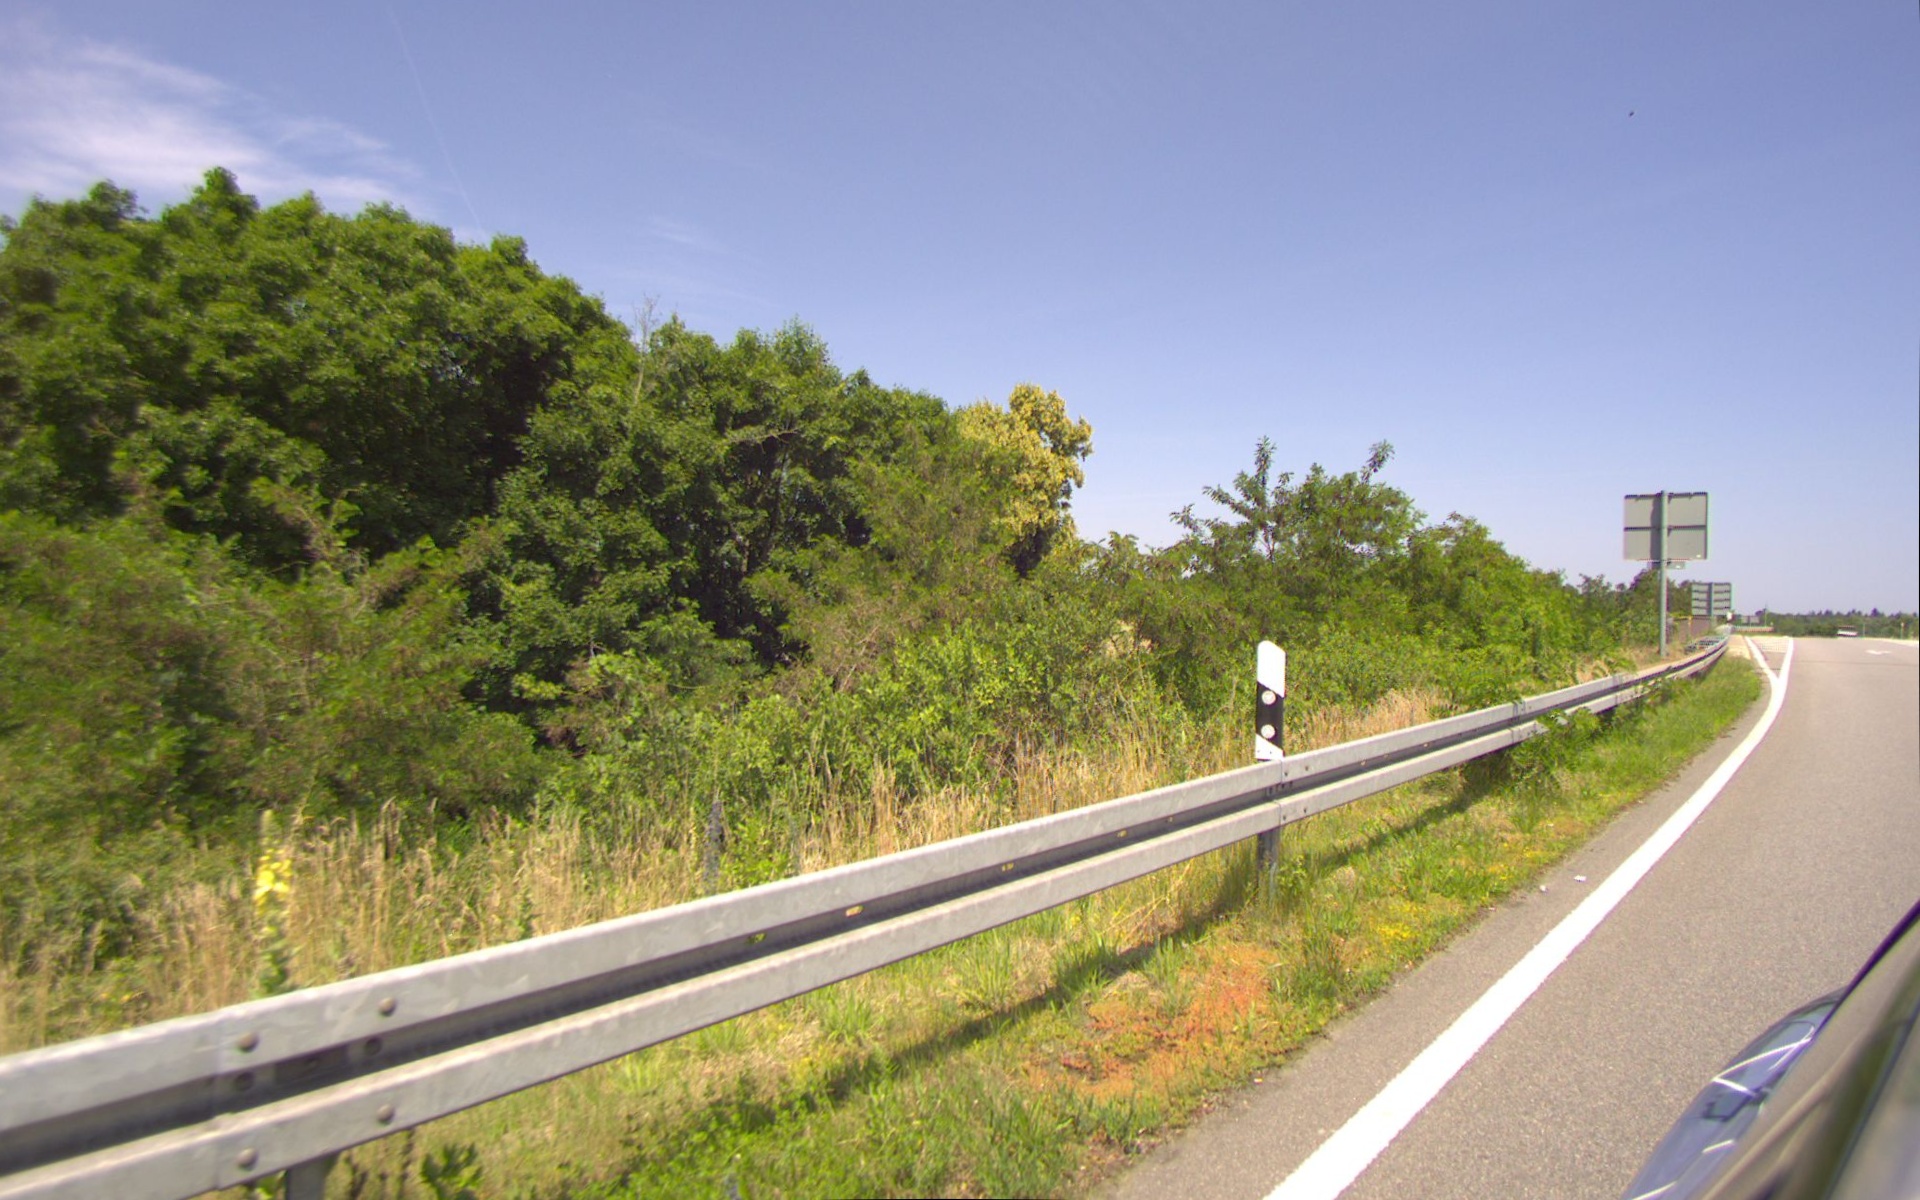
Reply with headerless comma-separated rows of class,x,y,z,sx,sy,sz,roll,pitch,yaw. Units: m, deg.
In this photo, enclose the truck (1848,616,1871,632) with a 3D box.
truck,134.696,3.544,151.574,2.202,2.271,5.299,1,0,38
